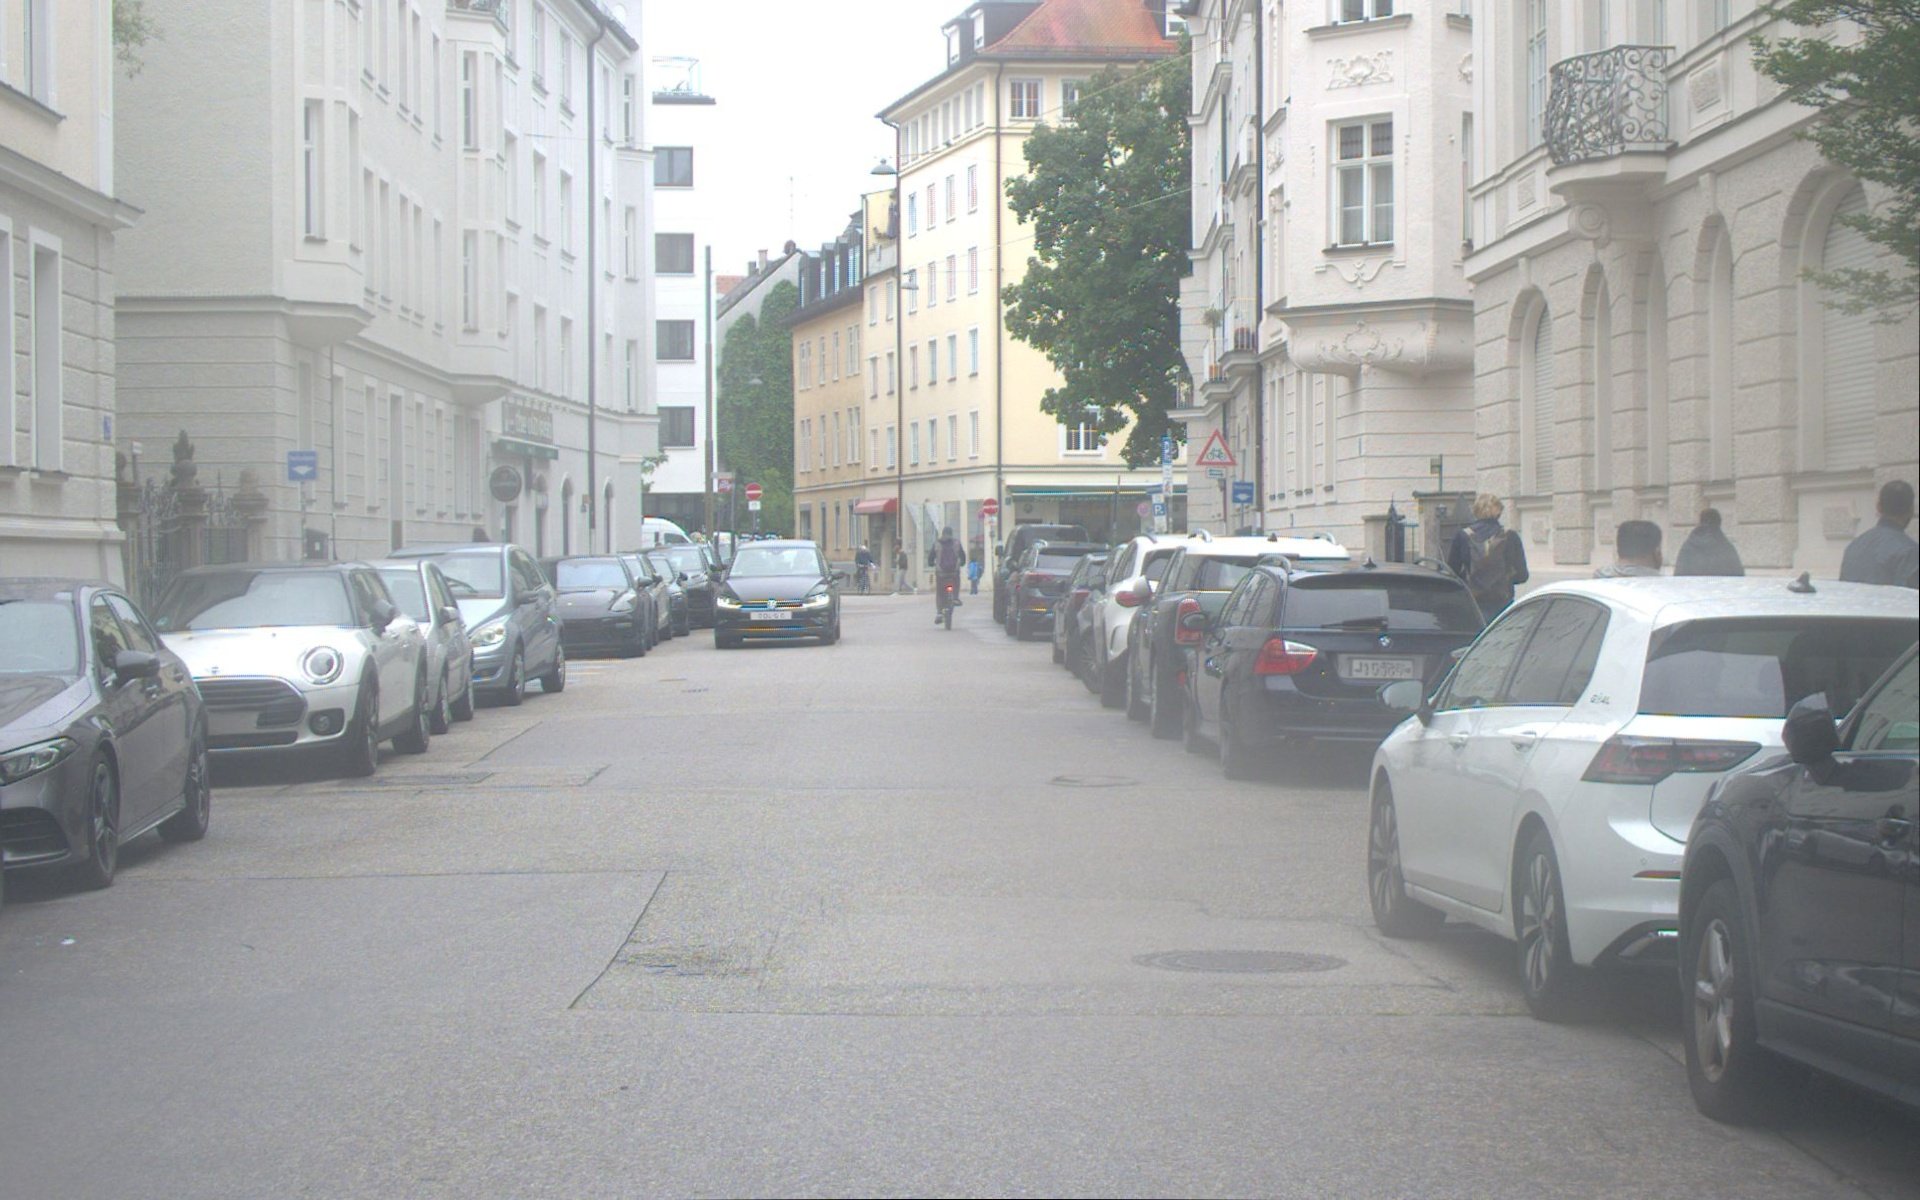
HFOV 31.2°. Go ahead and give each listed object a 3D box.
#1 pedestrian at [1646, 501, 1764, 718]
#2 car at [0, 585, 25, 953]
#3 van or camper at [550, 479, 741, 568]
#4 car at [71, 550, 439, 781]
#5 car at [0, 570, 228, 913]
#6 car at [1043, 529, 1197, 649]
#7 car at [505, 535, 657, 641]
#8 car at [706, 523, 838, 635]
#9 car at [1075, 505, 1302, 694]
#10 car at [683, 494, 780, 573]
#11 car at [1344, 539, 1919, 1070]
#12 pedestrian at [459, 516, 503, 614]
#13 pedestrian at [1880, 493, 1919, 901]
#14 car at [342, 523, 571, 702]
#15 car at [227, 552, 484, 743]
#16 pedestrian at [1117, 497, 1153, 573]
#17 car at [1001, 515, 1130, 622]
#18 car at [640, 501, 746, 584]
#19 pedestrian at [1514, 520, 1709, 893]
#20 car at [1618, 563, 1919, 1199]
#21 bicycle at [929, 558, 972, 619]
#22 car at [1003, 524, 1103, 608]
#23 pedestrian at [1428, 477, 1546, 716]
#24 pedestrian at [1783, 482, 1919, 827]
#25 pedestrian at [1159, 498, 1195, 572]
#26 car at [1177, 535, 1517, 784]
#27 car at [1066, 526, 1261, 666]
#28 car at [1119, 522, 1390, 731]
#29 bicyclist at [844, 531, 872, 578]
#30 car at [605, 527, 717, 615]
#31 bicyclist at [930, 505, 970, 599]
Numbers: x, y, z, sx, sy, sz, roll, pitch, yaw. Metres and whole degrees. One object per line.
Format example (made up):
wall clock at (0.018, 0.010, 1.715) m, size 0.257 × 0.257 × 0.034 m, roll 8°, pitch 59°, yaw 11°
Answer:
pedestrian at (5.954, 0.060, 27.499) m, size 0.682 × 1.673 × 0.812 m, roll -3°, pitch 2°, yaw -2°
car at (-4.498, 0.685, 11.674) m, size 1.768 × 1.415 × 4.001 m, roll 0°, pitch 1°, yaw -3°
van or camper at (-10.012, -2.436, 109.243) m, size 5.903 × 2.668 × 1.873 m, roll -1°, pitch -1°, yaw -8°
car at (-4.797, 0.386, 23.923) m, size 1.797 × 1.430 × 4.080 m, roll -1°, pitch 1°, yaw -1°
car at (-4.761, 0.615, 16.650) m, size 1.734 × 1.360 × 4.194 m, roll -3°, pitch 2°, yaw -4°
car at (1.970, -0.172, 43.176) m, size 1.612 × 1.390 × 4.001 m, roll 1°, pitch 1°, yaw -2°
car at (-5.276, -0.201, 48.330) m, size 1.849 × 1.362 × 4.703 m, roll -1°, pitch 2°, yaw -3°
car at (-2.781, -0.351, 51.493) m, size 1.724 × 1.528 × 4.086 m, roll -3°, pitch 1°, yaw -1°
car at (2.138, -0.061, 33.265) m, size 1.895 × 1.630 × 4.392 m, roll -1°, pitch 2°, yaw 0°
car at (-5.274, -1.567, 79.830) m, size 1.843 × 1.751 × 4.000 m, roll -1°, pitch 2°, yaw 2°
car at (2.546, 0.575, 12.323) m, size 1.662 × 1.502 × 4.065 m, roll 0°, pitch 2°, yaw -3°
pedestrian at (-8.356, -0.617, 59.996) m, size 0.697 × 1.701 × 0.665 m, roll 0°, pitch 1°, yaw -3°
pedestrian at (4.453, 0.410, 15.091) m, size 0.627 × 1.763 × 0.673 m, roll 0°, pitch 2°, yaw -2°
car at (-5.030, 0.072, 34.814) m, size 1.696 × 1.575 × 4.062 m, roll -3°, pitch 2°, yaw -1°
car at (-5.076, 0.351, 29.305) m, size 1.644 × 1.398 × 4.001 m, roll -3°, pitch 2°, yaw -3°
pedestrian at (4.001, -1.486, 78.608) m, size 0.703 × 1.722 × 0.703 m, roll -2°, pitch 1°, yaw -3°
car at (1.635, -0.530, 54.345) m, size 1.707 × 1.582 × 4.001 m, roll 1°, pitch 2°, yaw -3°
car at (-5.006, -1.101, 64.898) m, size 1.741 × 1.481 × 4.181 m, roll -1°, pitch 1°, yaw -1°
pedestrian at (2.992, 0.464, 15.759) m, size 0.851 × 1.652 × 0.866 m, roll 0°, pitch 1°, yaw 12°
car at (2.948, 0.744, 7.812) m, size 1.791 × 1.493 × 4.083 m, roll 2°, pitch 2°, yaw -4°
bicycle at (-0.160, -0.208, 59.311) m, size 0.639 × 1.001 × 1.574 m, roll -1°, pitch 1°, yaw 3°
car at (1.608, -0.616, 59.984) m, size 1.664 × 1.390 × 3.582 m, roll 1°, pitch 1°, yaw 1°
pedestrian at (4.045, -0.041, 26.444) m, size 0.682 × 1.769 × 0.855 m, roll -3°, pitch 2°, yaw 0°
pedestrian at (4.834, 0.269, 17.972) m, size 0.882 × 1.763 × 0.673 m, roll 0°, pitch 2°, yaw -2°
pedestrian at (4.982, -1.493, 79.033) m, size 0.679 × 1.668 × 0.654 m, roll -3°, pitch 1°, yaw -3°
car at (2.495, 0.325, 23.076) m, size 1.711 × 1.447 × 4.225 m, roll 0°, pitch 2°, yaw -1°
car at (2.238, -0.085, 38.696) m, size 1.708 × 1.496 × 4.001 m, roll 0°, pitch 1°, yaw -4°
car at (2.268, 0.149, 27.453) m, size 1.748 × 1.519 × 4.171 m, roll 0°, pitch 2°, yaw -1°
bicyclist at (-3.590, -1.618, 120.968) m, size 0.781 × 1.632 × 0.976 m, roll -1°, pitch 1°, yaw -15°
car at (-5.163, -0.535, 59.576) m, size 1.810 × 1.380 × 4.444 m, roll -2°, pitch 2°, yaw -4°
bicyclist at (-0.170, -0.836, 59.319) m, size 0.606 × 1.601 × 0.757 m, roll -1°, pitch 2°, yaw 3°
